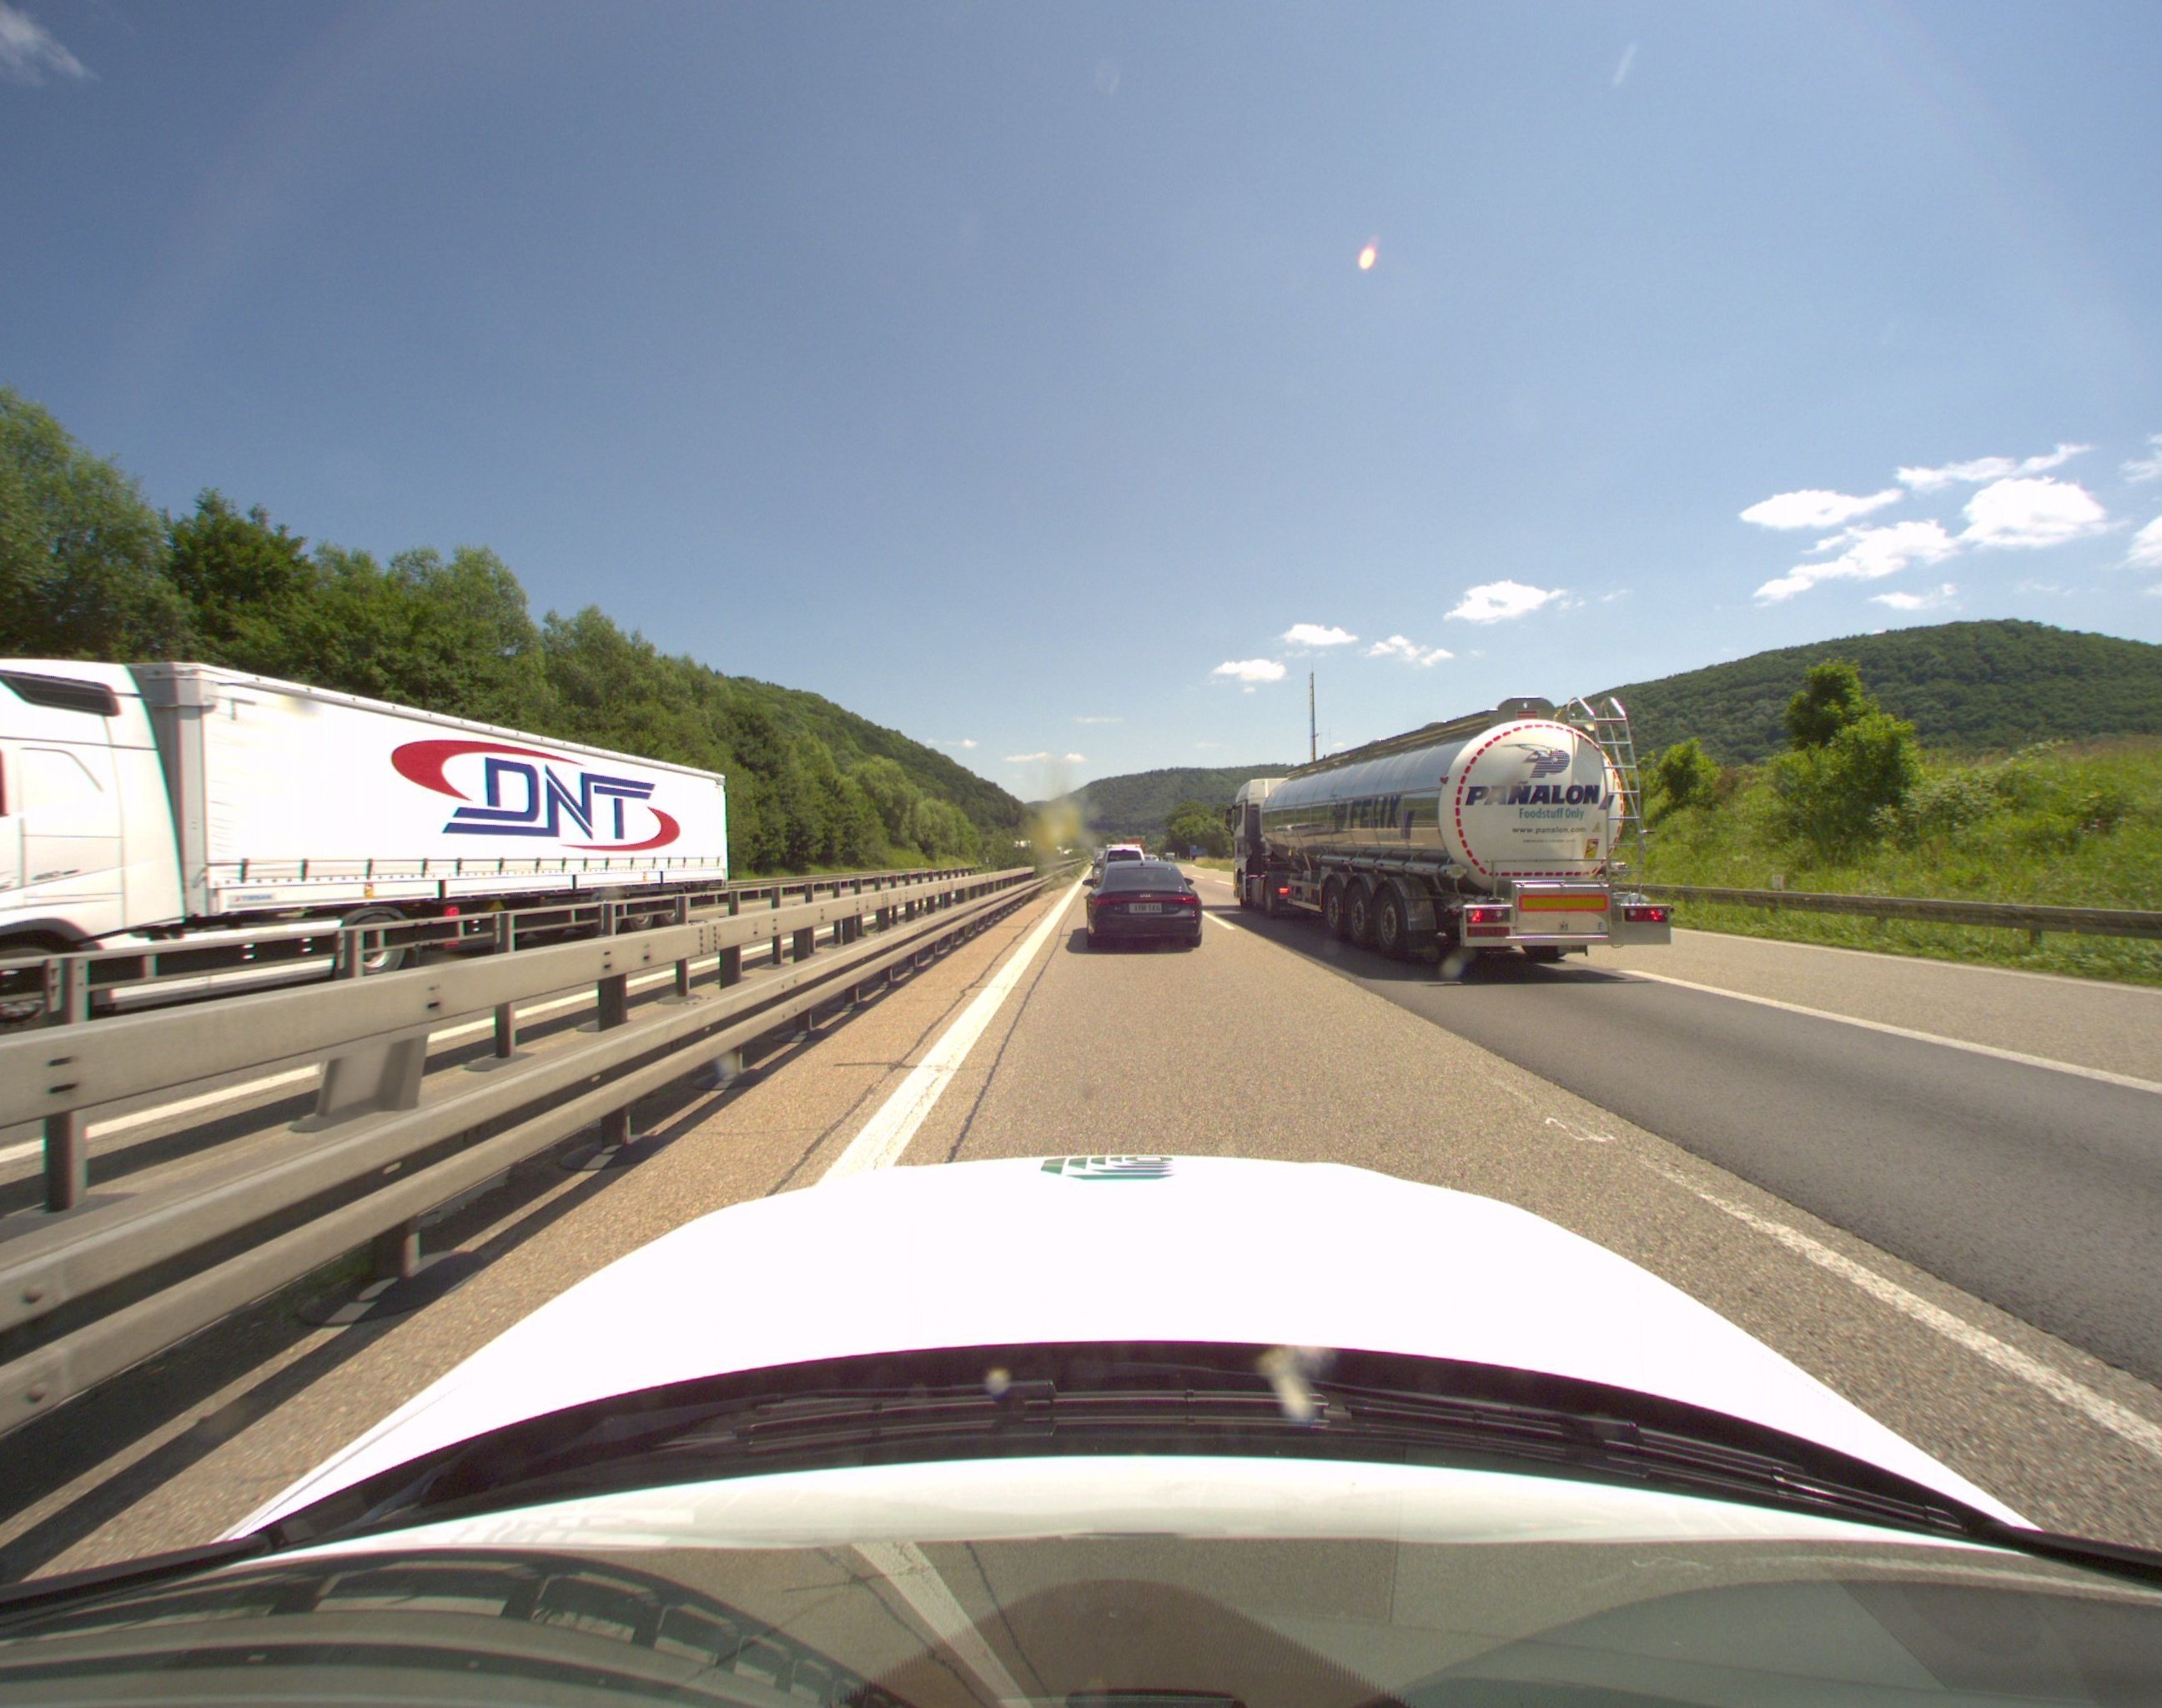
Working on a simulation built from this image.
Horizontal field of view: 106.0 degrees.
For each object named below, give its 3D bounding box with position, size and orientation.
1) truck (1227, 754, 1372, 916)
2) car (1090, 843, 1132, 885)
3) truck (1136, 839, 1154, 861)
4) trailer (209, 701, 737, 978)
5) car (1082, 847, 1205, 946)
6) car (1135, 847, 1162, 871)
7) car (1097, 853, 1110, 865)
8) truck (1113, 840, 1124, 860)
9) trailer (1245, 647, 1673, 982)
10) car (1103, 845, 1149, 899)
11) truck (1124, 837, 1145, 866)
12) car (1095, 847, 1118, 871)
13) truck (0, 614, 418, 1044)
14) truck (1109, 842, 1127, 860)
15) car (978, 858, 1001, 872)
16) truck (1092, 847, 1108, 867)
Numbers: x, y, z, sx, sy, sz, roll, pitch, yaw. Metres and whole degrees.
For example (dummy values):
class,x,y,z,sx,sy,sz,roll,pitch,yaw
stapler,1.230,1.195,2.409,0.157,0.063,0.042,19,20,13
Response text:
class,x,y,z,sx,sy,sz,roll,pitch,yaw
truck,5.598,-0.451,21.779,2.503,3.758,5.246,-1,0,1
car,1.488,0.492,41.110,1.986,2.013,4.001,-1,0,1
truck,12.574,-0.749,161.370,2.806,4.003,14.963,-1,0,2
trailer,-11.489,-0.218,17.831,2.846,4.076,11.265,-2,0,1
car,0.977,0.646,14.434,1.843,1.488,4.083,-1,0,0
car,5.774,0.408,70.143,1.986,2.013,4.001,-2,0,1
car,3.277,0.750,115.930,1.705,1.618,4.003,-2,0,2
truck,7.001,-0.714,152.987,1.986,3.447,11.815,-1,0,2
trailer,5.444,-0.445,15.092,2.529,3.735,11.892,-1,0,1
car,1.602,0.611,29.987,1.570,1.833,4.001,-1,0,1
truck,7.878,-0.351,121.341,2.806,4.003,14.963,-1,0,2
car,2.246,0.439,72.346,1.986,2.013,4.001,-2,0,1
truck,-11.703,-0.223,9.561,2.899,4.102,5.850,-1,0,1
truck,9.622,-0.789,209.359,3.775,4.414,14.977,-2,0,5
car,-10.274,1.200,91.352,1.862,1.420,4.435,-3,0,2
truck,3.553,0.479,148.012,2.618,3.440,11.425,-2,0,2
